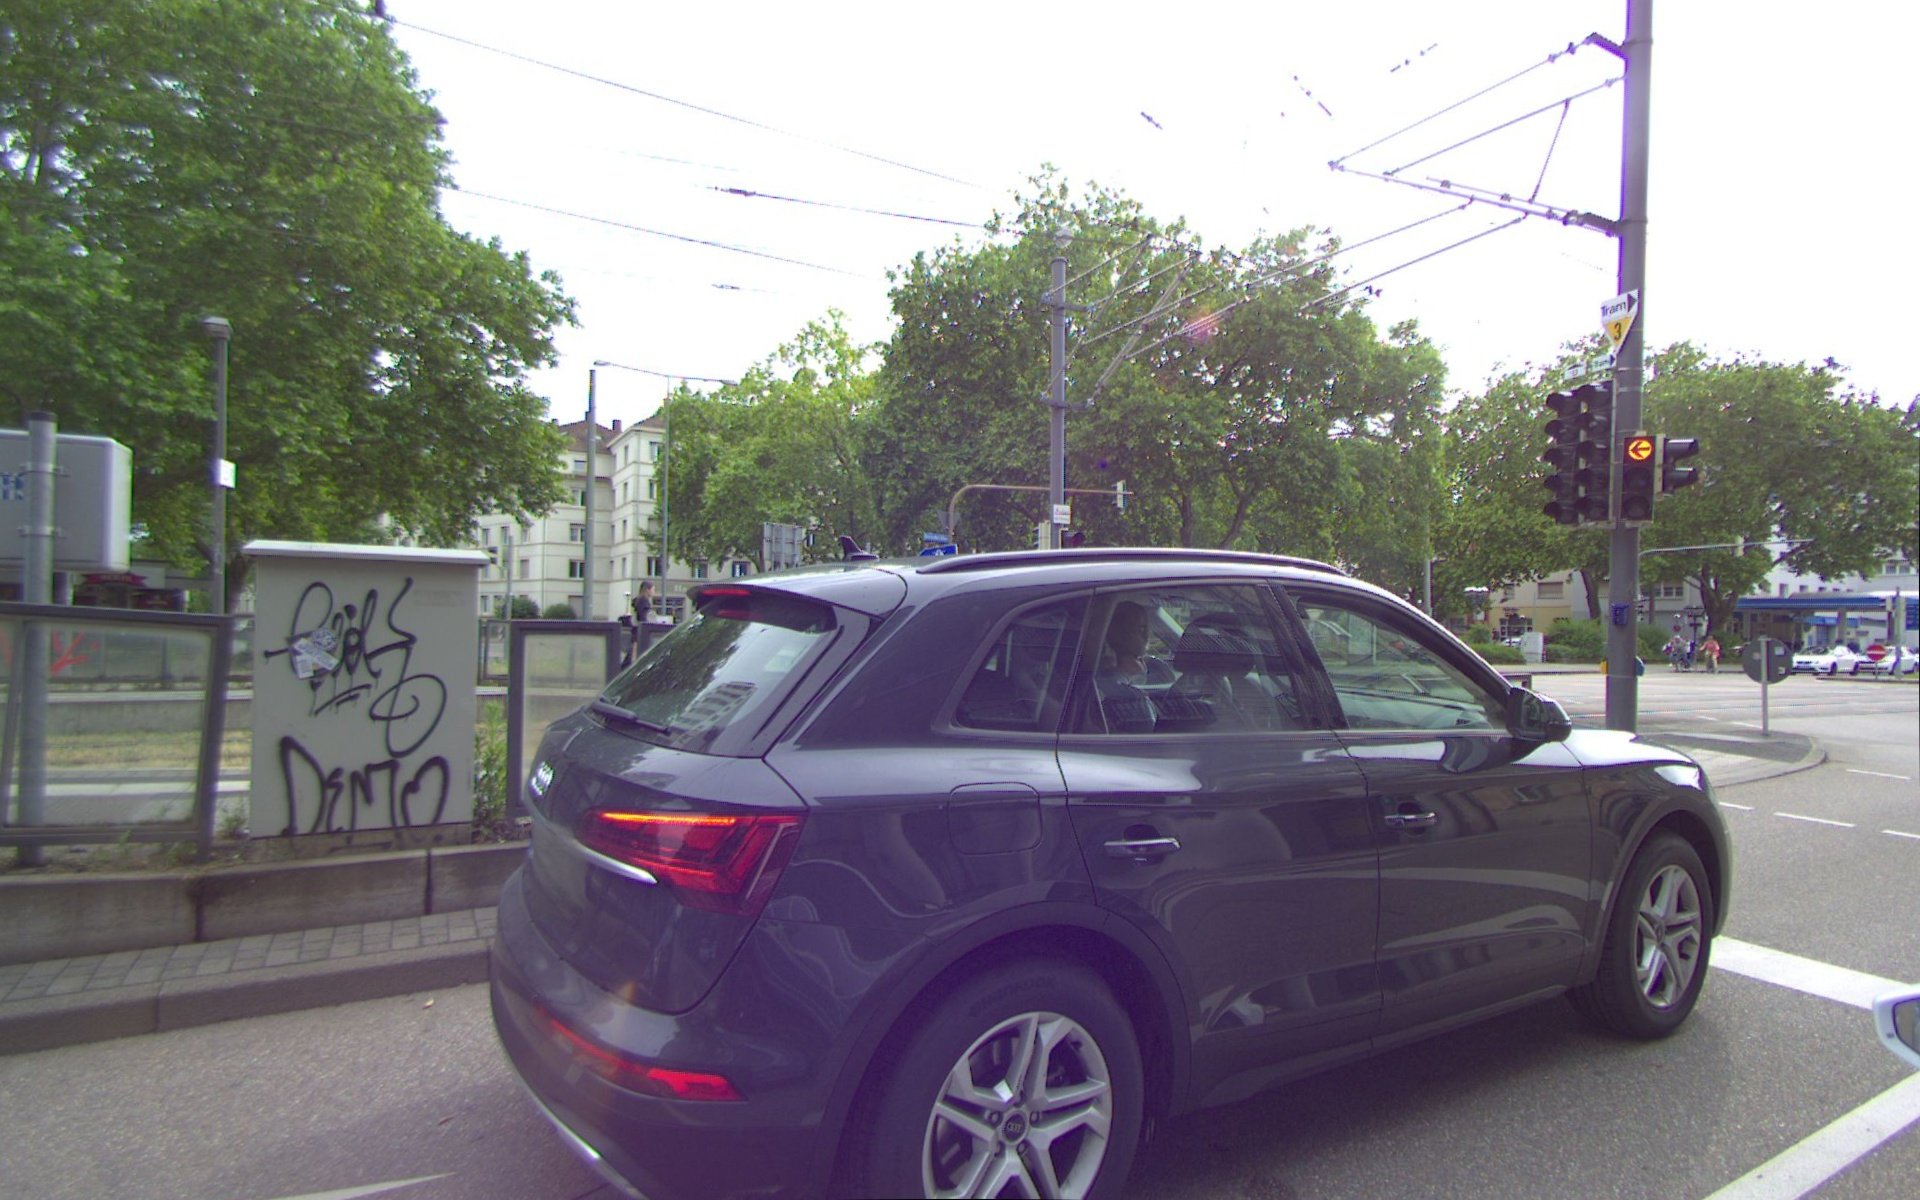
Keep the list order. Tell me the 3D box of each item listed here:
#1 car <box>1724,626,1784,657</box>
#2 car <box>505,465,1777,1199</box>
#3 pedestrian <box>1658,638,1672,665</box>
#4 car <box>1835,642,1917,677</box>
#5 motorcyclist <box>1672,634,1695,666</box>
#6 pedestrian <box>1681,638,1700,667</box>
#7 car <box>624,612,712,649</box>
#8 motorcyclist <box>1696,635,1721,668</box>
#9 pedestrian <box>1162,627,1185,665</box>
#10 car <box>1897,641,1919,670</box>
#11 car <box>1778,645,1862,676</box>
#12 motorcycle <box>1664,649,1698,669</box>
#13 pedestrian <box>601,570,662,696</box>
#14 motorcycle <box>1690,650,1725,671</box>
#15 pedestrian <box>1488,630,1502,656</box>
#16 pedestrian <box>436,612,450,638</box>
[{"bbox_3d":[54.952,2.890,69.479,3.953,2.040,1.984,2,-1,-30],"label":"car"},{"bbox_3d":[0.819,0.659,3.456,4.177,1.658,1.725,2,0,-30],"label":"car"},{"bbox_3d":[38.663,2.805,55.095,0.421,1.479,0.474,2,-1,-30],"label":"pedestrian"},{"bbox_3d":[46.978,3.028,51.512,3.953,1.615,1.984,2,0,-30],"label":"car"},{"bbox_3d":[35.019,2.405,48.631,0.863,1.540,0.617,2,-1,-30],"label":"motorcyclist"},{"bbox_3d":[39.448,2.829,54.239,0.550,1.499,0.644,2,-1,-30],"label":"pedestrian"},{"bbox_3d":[-14.423,1.498,49.615,3.929,1.706,1.996,0,-1,31],"label":"car"},{"bbox_3d":[35.079,2.400,47.072,0.863,1.540,0.617,2,-1,-30],"label":"motorcyclist"},{"bbox_3d":[8.698,1.866,40.850,0.648,1.530,0.679,0,-1,44],"label":"pedestrian"},{"bbox_3d":[52.782,3.038,54.593,3.593,1.497,1.649,2,0,-29],"label":"car"},{"bbox_3d":[41.375,2.915,48.326,4.025,1.338,1.739,2,0,-29],"label":"car"},{"bbox_3d":[34.879,2.838,48.562,1.928,0.941,0.604,2,-1,-30],"label":"motorcycle"},{"bbox_3d":[-4.762,0.468,14.542,0.658,1.773,0.732,2,0,-30],"label":"pedestrian"},{"bbox_3d":[35.046,2.819,47.074,1.928,0.941,0.604,2,-1,-30],"label":"motorcycle"},{"bbox_3d":[35.817,2.848,67.282,0.599,1.723,0.604,1,-1,-1],"label":"pedestrian"},{"bbox_3d":[-40.553,1.957,78.833,0.657,2.040,0.675,2,0,21],"label":"pedestrian"}]
